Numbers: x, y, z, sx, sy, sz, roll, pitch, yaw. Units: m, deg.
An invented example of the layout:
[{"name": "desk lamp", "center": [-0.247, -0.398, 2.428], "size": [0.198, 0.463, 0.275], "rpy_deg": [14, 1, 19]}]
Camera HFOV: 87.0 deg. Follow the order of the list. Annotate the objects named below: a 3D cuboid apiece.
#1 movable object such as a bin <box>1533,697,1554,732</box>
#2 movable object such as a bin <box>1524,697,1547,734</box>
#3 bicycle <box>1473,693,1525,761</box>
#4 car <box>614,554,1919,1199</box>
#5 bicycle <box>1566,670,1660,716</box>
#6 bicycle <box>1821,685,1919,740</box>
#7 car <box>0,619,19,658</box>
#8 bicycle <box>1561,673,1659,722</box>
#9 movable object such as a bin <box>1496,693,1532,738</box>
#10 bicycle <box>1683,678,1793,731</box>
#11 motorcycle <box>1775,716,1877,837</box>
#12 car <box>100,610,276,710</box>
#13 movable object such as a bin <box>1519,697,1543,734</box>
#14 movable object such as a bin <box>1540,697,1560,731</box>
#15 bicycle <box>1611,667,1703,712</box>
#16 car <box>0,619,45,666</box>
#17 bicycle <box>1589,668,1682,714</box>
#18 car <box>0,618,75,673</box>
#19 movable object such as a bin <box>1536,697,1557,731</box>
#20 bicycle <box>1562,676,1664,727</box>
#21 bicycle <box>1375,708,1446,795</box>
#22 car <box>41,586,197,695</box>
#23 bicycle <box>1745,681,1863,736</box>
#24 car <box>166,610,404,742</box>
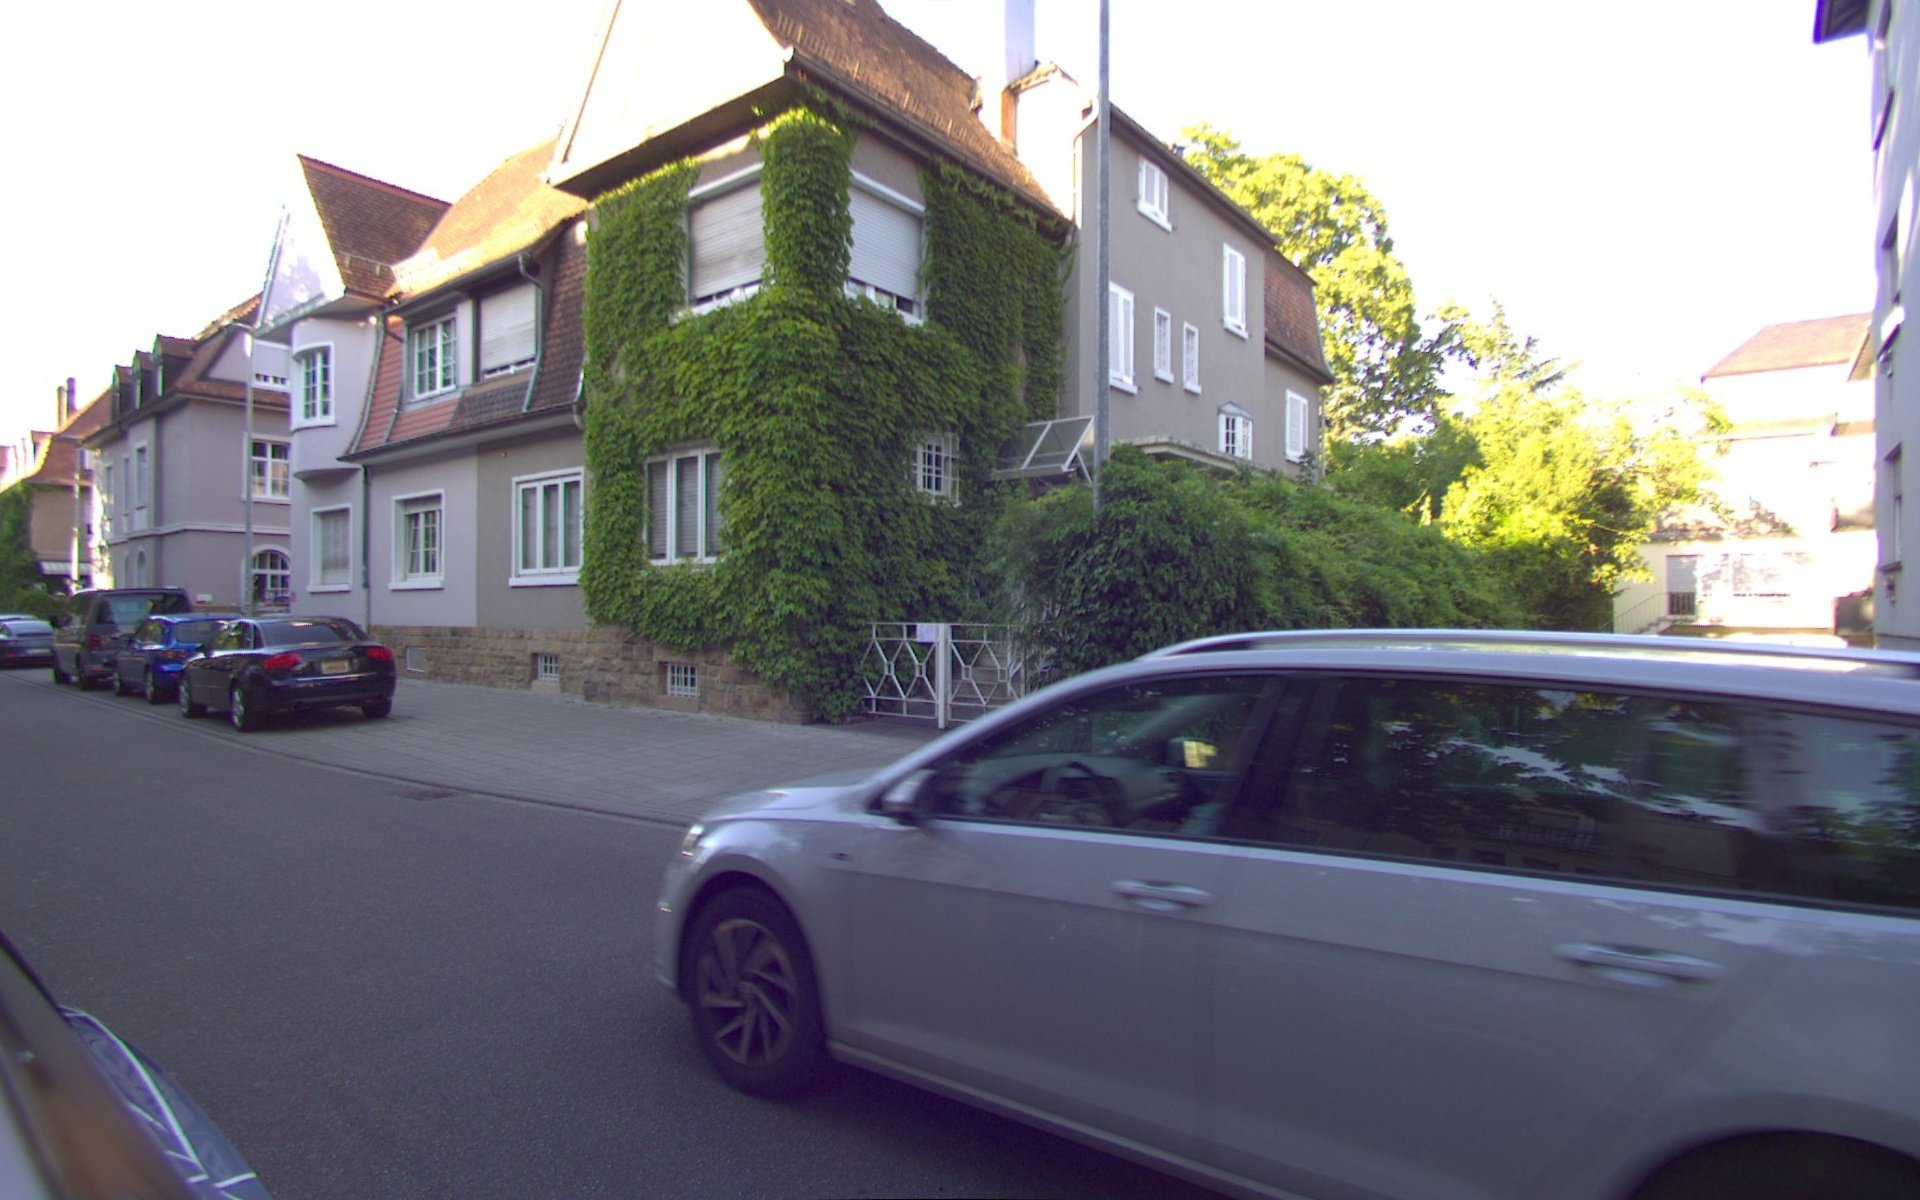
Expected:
[{"name": "movable object such as a bin", "center": [13.290, 2.614, 23.056], "size": [0.367, 0.764, 0.359], "rpy_deg": [-1, -4, 41]}, {"name": "movable object such as a bin", "center": [12.777, 2.561, 22.461], "size": [0.381, 0.779, 0.359], "rpy_deg": [-1, -4, 41]}, {"name": "bicycle", "center": [9.963, 2.315, 18.670], "size": [0.514, 1.027, 1.914], "rpy_deg": [1, 0, 38]}, {"name": "car", "center": [1.059, 0.724, 2.848], "size": [4.293, 1.473, 1.764], "rpy_deg": [-2, -3, 37]}, {"name": "bicycle", "center": [17.706, 2.501, 27.470], "size": [2.068, 1.028, 0.608], "rpy_deg": [1, 3, 41]}, {"name": "bicycle", "center": [20.670, 2.526, 22.685], "size": [2.068, 1.028, 0.634], "rpy_deg": [1, 3, 41]}, {"name": "car", "center": [-36.472, 1.449, 37.637], "size": [3.942, 1.381, 1.698], "rpy_deg": [-1, 1, 40]}, {"name": "bicycle", "center": [16.845, 2.513, 26.268], "size": [2.068, 1.028, 0.565], "rpy_deg": [1, 3, 41]}, {"name": "movable object such as a bin", "center": [11.550, 2.400, 21.094], "size": [0.576, 0.886, 0.488], "rpy_deg": [0, -3, 41]}, {"name": "bicycle", "center": [18.722, 2.489, 24.391], "size": [2.068, 1.028, 0.634], "rpy_deg": [1, 3, 41]}, {"name": "motorcycle", "center": [10.746, 2.147, 12.610], "size": [0.757, 1.261, 1.575], "rpy_deg": [-1, -3, 34]}, {"name": "car", "center": [-13.661, 0.964, 17.825], "size": [4.021, 1.475, 1.591], "rpy_deg": [0, 2, 40]}, {"name": "movable object such as a bin", "center": [12.507, 2.531, 22.158], "size": [0.398, 0.779, 0.359], "rpy_deg": [-1, -4, 41]}, {"name": "movable object such as a bin", "center": [13.791, 2.652, 23.658], "size": [0.346, 0.764, 0.359], "rpy_deg": [-1, -4, 41]}, {"name": "bicycle", "center": [19.425, 2.478, 28.240], "size": [2.068, 1.028, 0.561], "rpy_deg": [1, 3, 41]}, {"name": "car", "center": [-30.274, 1.331, 31.952], "size": [3.942, 1.381, 1.522], "rpy_deg": [-1, 1, 40]}, {"name": "bicycle", "center": [18.623, 2.489, 27.936], "size": [2.068, 1.028, 0.608], "rpy_deg": [1, 3, 41]}, {"name": "car", "center": [-26.352, 1.229, 28.355], "size": [4.331, 1.381, 1.698], "rpy_deg": [-1, 1, 40]}, {"name": "movable object such as a bin", "center": [13.542, 2.628, 23.353], "size": [0.367, 0.764, 0.359], "rpy_deg": [-1, -4, 41]}, {"name": "bicycle", "center": [16.280, 2.520, 25.256], "size": [2.068, 1.028, 0.634], "rpy_deg": [1, 3, 41]}, {"name": "bicycle", "center": [6.769, 2.227, 15.164], "size": [0.514, 1.027, 1.914], "rpy_deg": [1, 0, 38]}, {"name": "car", "center": [-17.446, 0.763, 20.929], "size": [4.308, 1.987, 1.698], "rpy_deg": [0, 2, 40]}, {"name": "bicycle", "center": [19.642, 2.504, 23.598], "size": [2.068, 1.028, 0.634], "rpy_deg": [1, 3, 41]}, {"name": "car", "center": [-9.303, 0.912, 13.828], "size": [4.023, 1.439, 1.729], "rpy_deg": [0, 2, 42]}]
